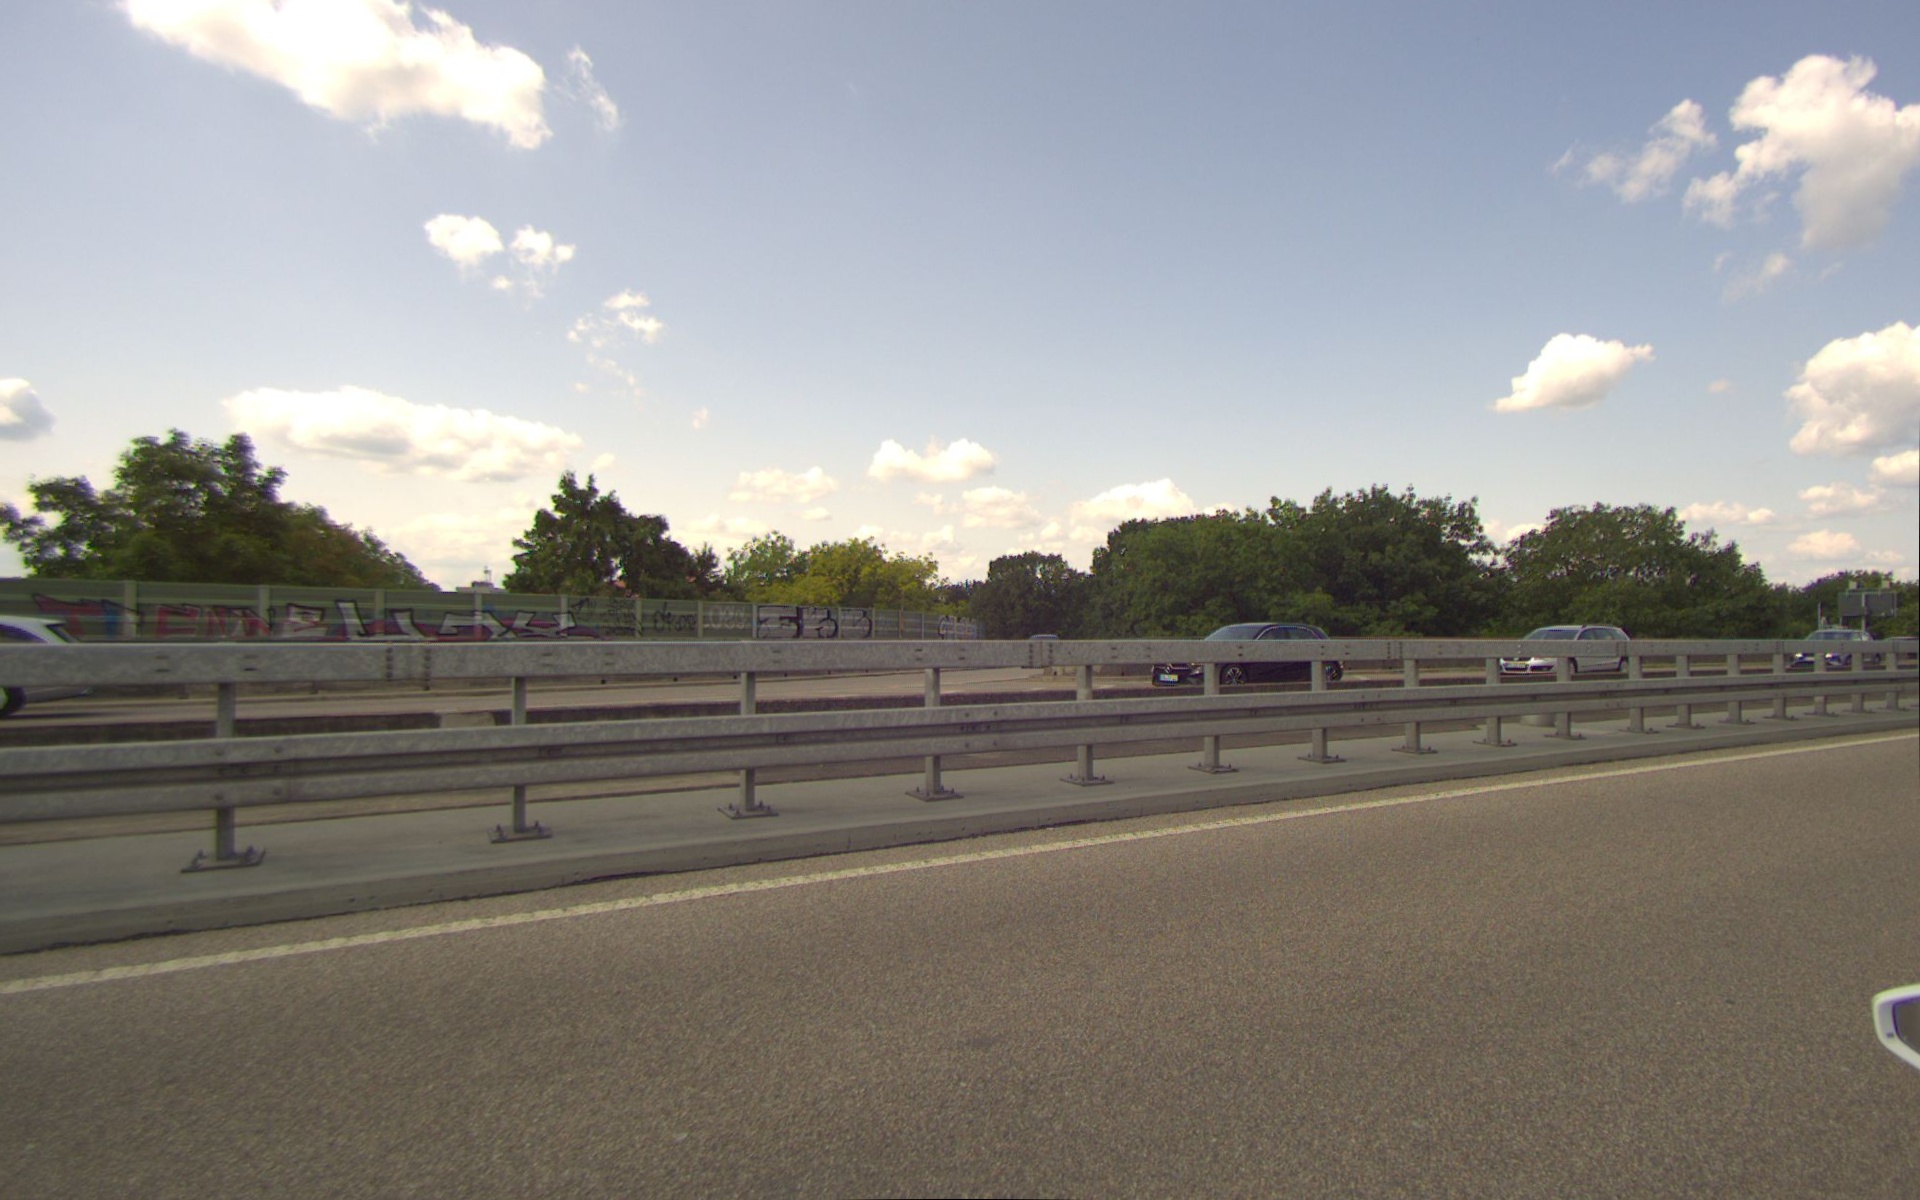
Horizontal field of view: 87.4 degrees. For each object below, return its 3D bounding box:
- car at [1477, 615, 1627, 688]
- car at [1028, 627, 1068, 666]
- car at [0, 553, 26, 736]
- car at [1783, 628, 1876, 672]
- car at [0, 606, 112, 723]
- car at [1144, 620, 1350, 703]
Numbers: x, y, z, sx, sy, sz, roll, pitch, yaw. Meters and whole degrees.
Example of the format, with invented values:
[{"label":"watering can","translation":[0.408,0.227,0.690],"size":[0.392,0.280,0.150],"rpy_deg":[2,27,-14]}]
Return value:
[{"label":"car","translation":[15.624,1.289,26.442],"size":[4.362,1.734,1.573],"rpy_deg":[0,1,-33]},{"label":"car","translation":[3.817,1.980,43.654],"size":[1.615,1.405,4.002],"rpy_deg":[2,0,5]},{"label":"car","translation":[-12.453,0.462,9.398],"size":[5.135,1.951,1.948],"rpy_deg":[0,2,-33]},{"label":"car","translation":[31.424,1.789,36.288],"size":[3.592,1.494,1.589],"rpy_deg":[1,-3,-33]},{"label":"car","translation":[-14.802,0.873,14.025],"size":[4.235,1.595,1.913],"rpy_deg":[1,0,-32]},{"label":"car","translation":[5.786,1.162,20.124],"size":[4.002,1.408,1.774],"rpy_deg":[0,1,-32]}]
